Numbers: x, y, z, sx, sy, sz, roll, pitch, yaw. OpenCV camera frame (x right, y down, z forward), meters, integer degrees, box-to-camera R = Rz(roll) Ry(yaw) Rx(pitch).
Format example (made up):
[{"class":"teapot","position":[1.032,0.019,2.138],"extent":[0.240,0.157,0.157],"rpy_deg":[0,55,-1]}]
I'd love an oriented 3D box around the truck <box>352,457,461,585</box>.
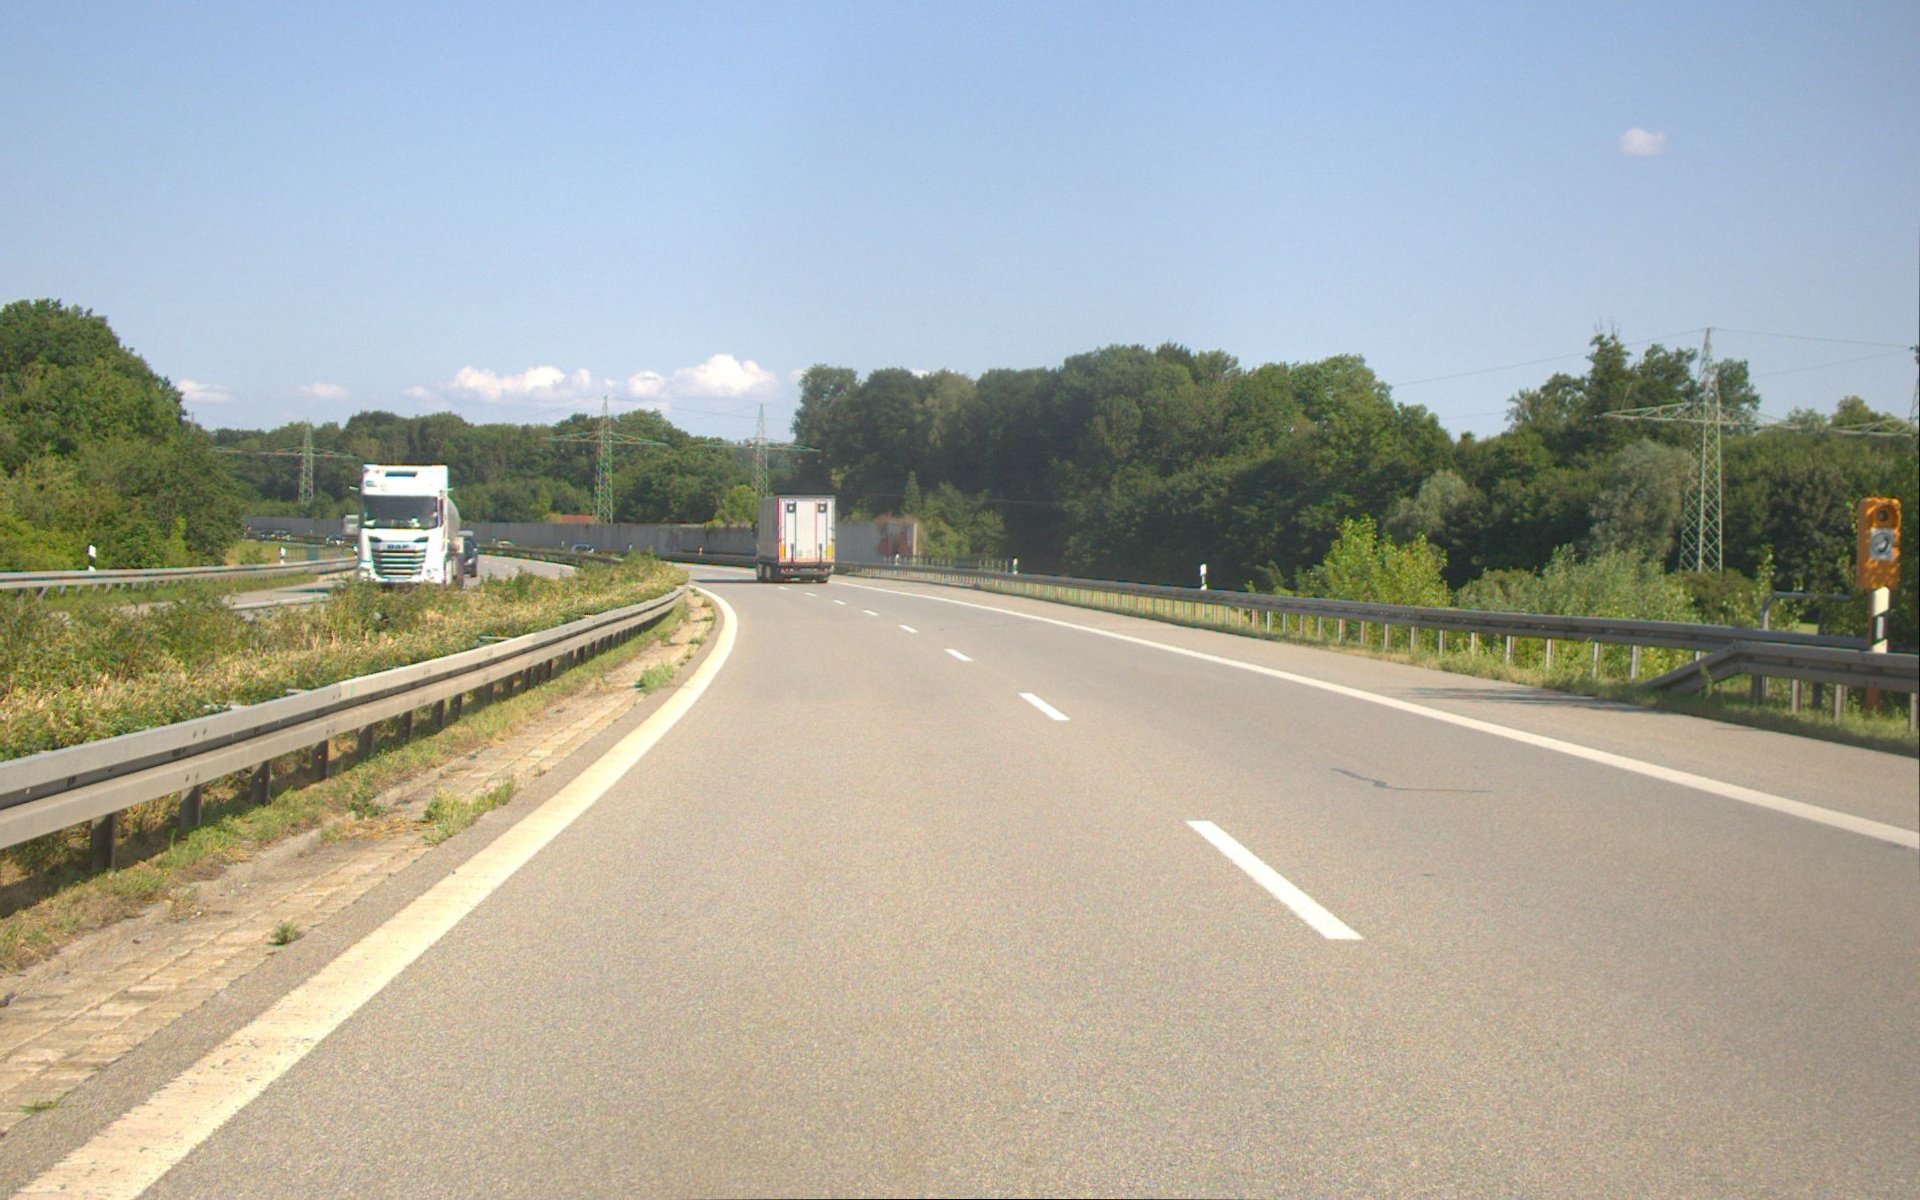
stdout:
[{"class":"truck","position":[-16.552,-2.342,103.076],"extent":[2.740,3.714,5.973],"rpy_deg":[0,1,-4]}]

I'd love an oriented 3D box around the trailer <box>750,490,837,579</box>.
[{"class":"trailer","position":[-7.959,-3.114,162.409],"extent":[2.883,4.052,12.423],"rpy_deg":[0,1,-8]}]

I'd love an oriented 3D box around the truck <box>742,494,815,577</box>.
[{"class":"truck","position":[-8.948,-3.179,169.063],"extent":[2.829,3.998,6.589],"rpy_deg":[0,1,-10]}]
